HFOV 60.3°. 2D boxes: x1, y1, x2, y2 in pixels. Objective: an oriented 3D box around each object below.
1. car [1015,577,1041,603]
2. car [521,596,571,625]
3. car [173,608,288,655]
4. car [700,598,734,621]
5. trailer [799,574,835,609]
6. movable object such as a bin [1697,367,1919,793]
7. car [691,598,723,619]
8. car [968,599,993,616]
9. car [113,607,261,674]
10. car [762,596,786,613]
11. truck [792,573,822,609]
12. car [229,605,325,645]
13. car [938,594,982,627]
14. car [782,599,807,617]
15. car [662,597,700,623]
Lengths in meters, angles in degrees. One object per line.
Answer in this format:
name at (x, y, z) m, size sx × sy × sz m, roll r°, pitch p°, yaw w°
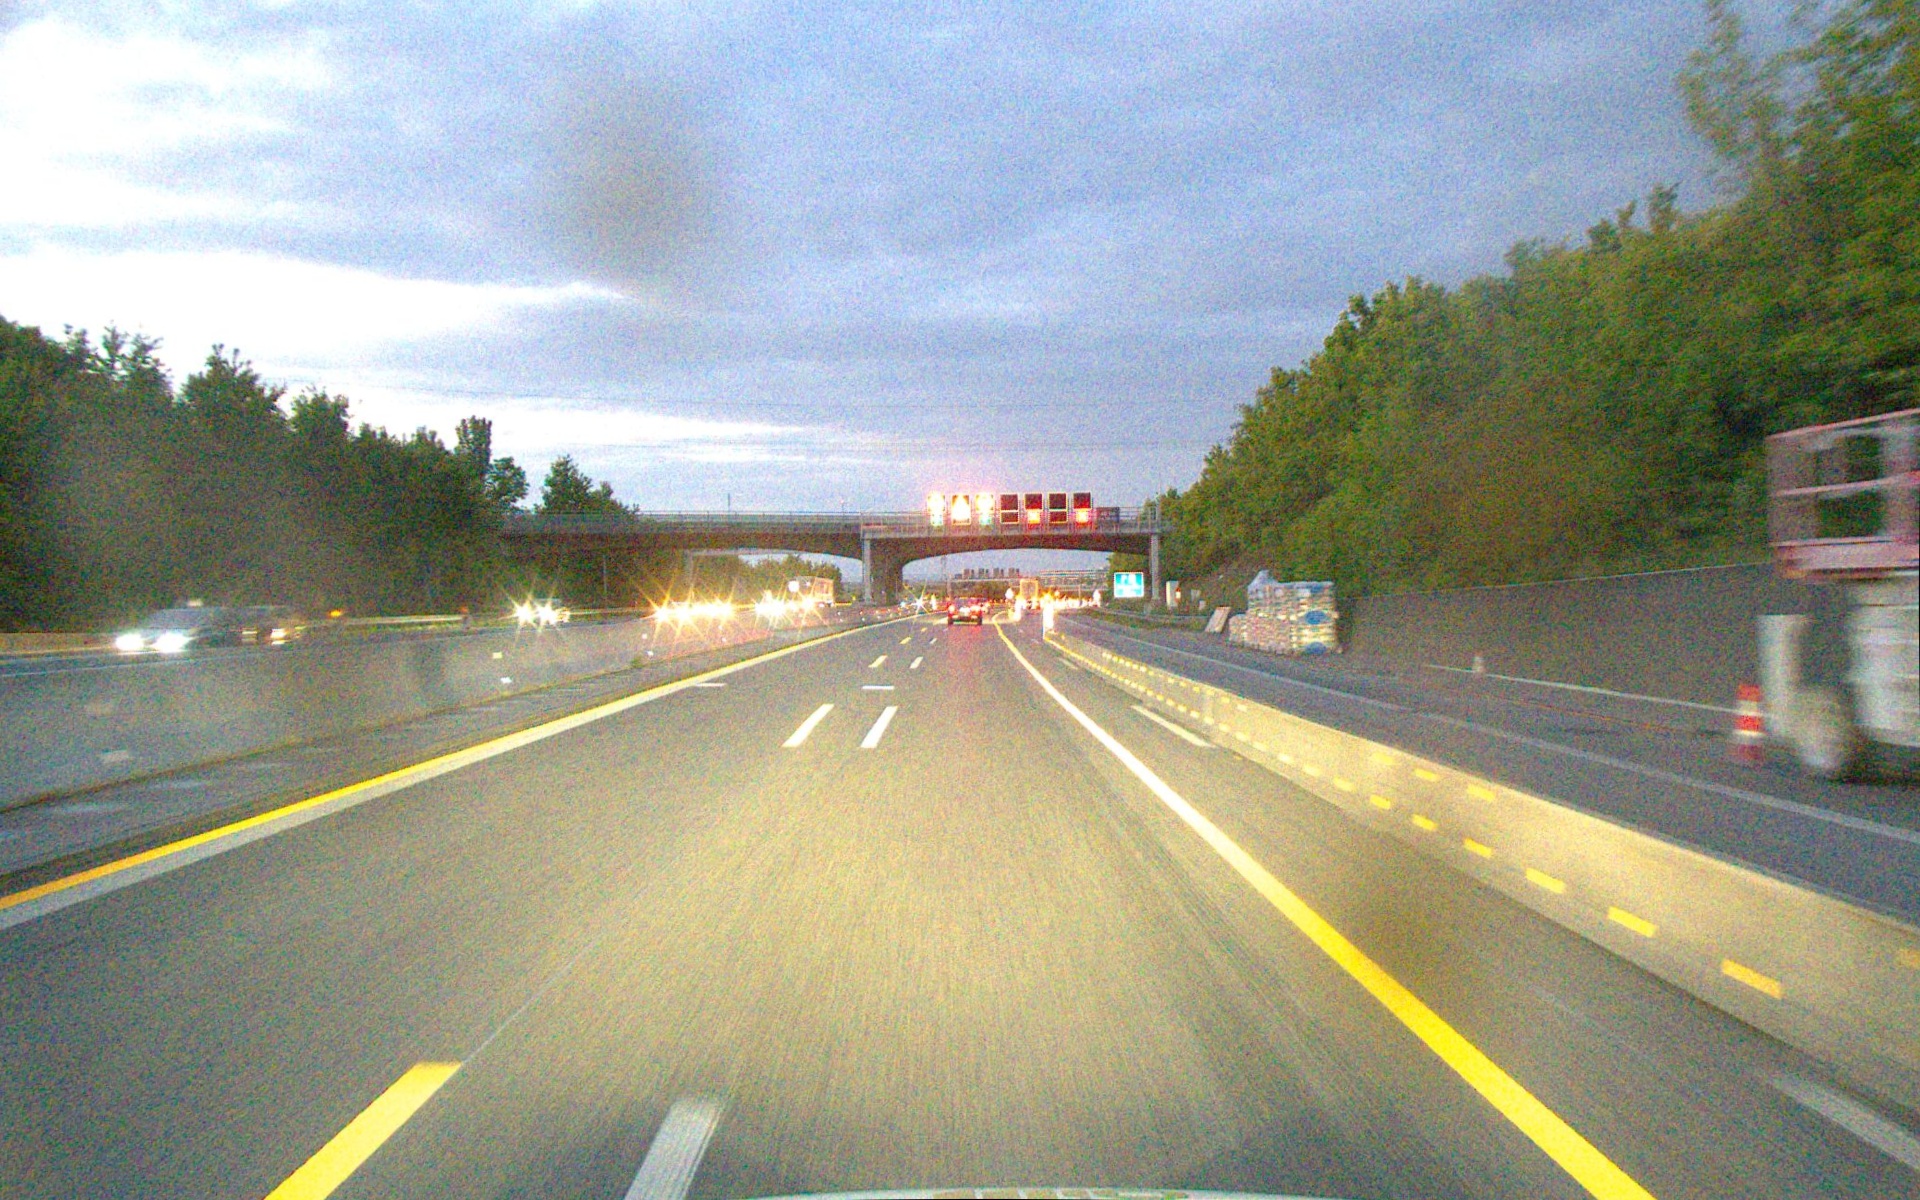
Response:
car at (9.763, -1.407, 238.319) m, size 3.531 × 3.455 × 8.014 m, roll 1°, pitch 0°, yaw 0°
car at (-25.407, 0.645, 101.616) m, size 1.767 × 1.666 × 4.752 m, roll 1°, pitch 0°, yaw 1°
car at (-25.047, 1.056, 56.991) m, size 1.773 × 1.511 × 4.702 m, roll 1°, pitch 0°, yaw 1°
car at (-18.602, 0.724, 126.854) m, size 1.767 × 1.666 × 4.752 m, roll 1°, pitch 0°, yaw 1°
trailer at (-18.051, -1.032, 209.161) m, size 2.720 × 4.279 × 12.406 m, roll 1°, pitch 0°, yaw 3°
movable object such as a bin at (8.396, -0.153, 12.923) m, size 2.567 × 3.162 × 5.804 m, roll -1°, pitch 0°, yaw -1°
car at (-20.616, 0.677, 134.980) m, size 1.700 × 1.666 × 5.171 m, roll 1°, pitch 0°, yaw 1°
car at (1.866, 0.665, 149.355) m, size 1.930 × 1.462 × 4.002 m, roll 1°, pitch 0°, yaw 4°
car at (-22.000, 1.112, 47.327) m, size 1.861 × 1.768 × 4.808 m, roll 1°, pitch 0°, yaw 1°
car at (-18.282, 0.464, 162.541) m, size 1.558 × 1.632 × 5.035 m, roll 1°, pitch 0°, yaw 3°
truck at (-18.542, -1.078, 200.784) m, size 2.719 × 4.244 × 6.388 m, roll 1°, pitch 0°, yaw 3°
car at (-27.521, 0.999, 66.805) m, size 1.788 × 1.511 × 4.702 m, roll 1°, pitch 0°, yaw 1°
car at (-0.031, 0.556, 88.351) m, size 2.219 × 1.650 × 3.999 m, roll 1°, pitch 0°, yaw -1°
car at (-15.712, 0.770, 157.521) m, size 1.701 × 1.666 × 4.892 m, roll 1°, pitch 0°, yaw 1°
car at (-19.004, 0.675, 112.749) m, size 1.644 × 1.666 × 4.752 m, roll 1°, pitch 0°, yaw 1°
